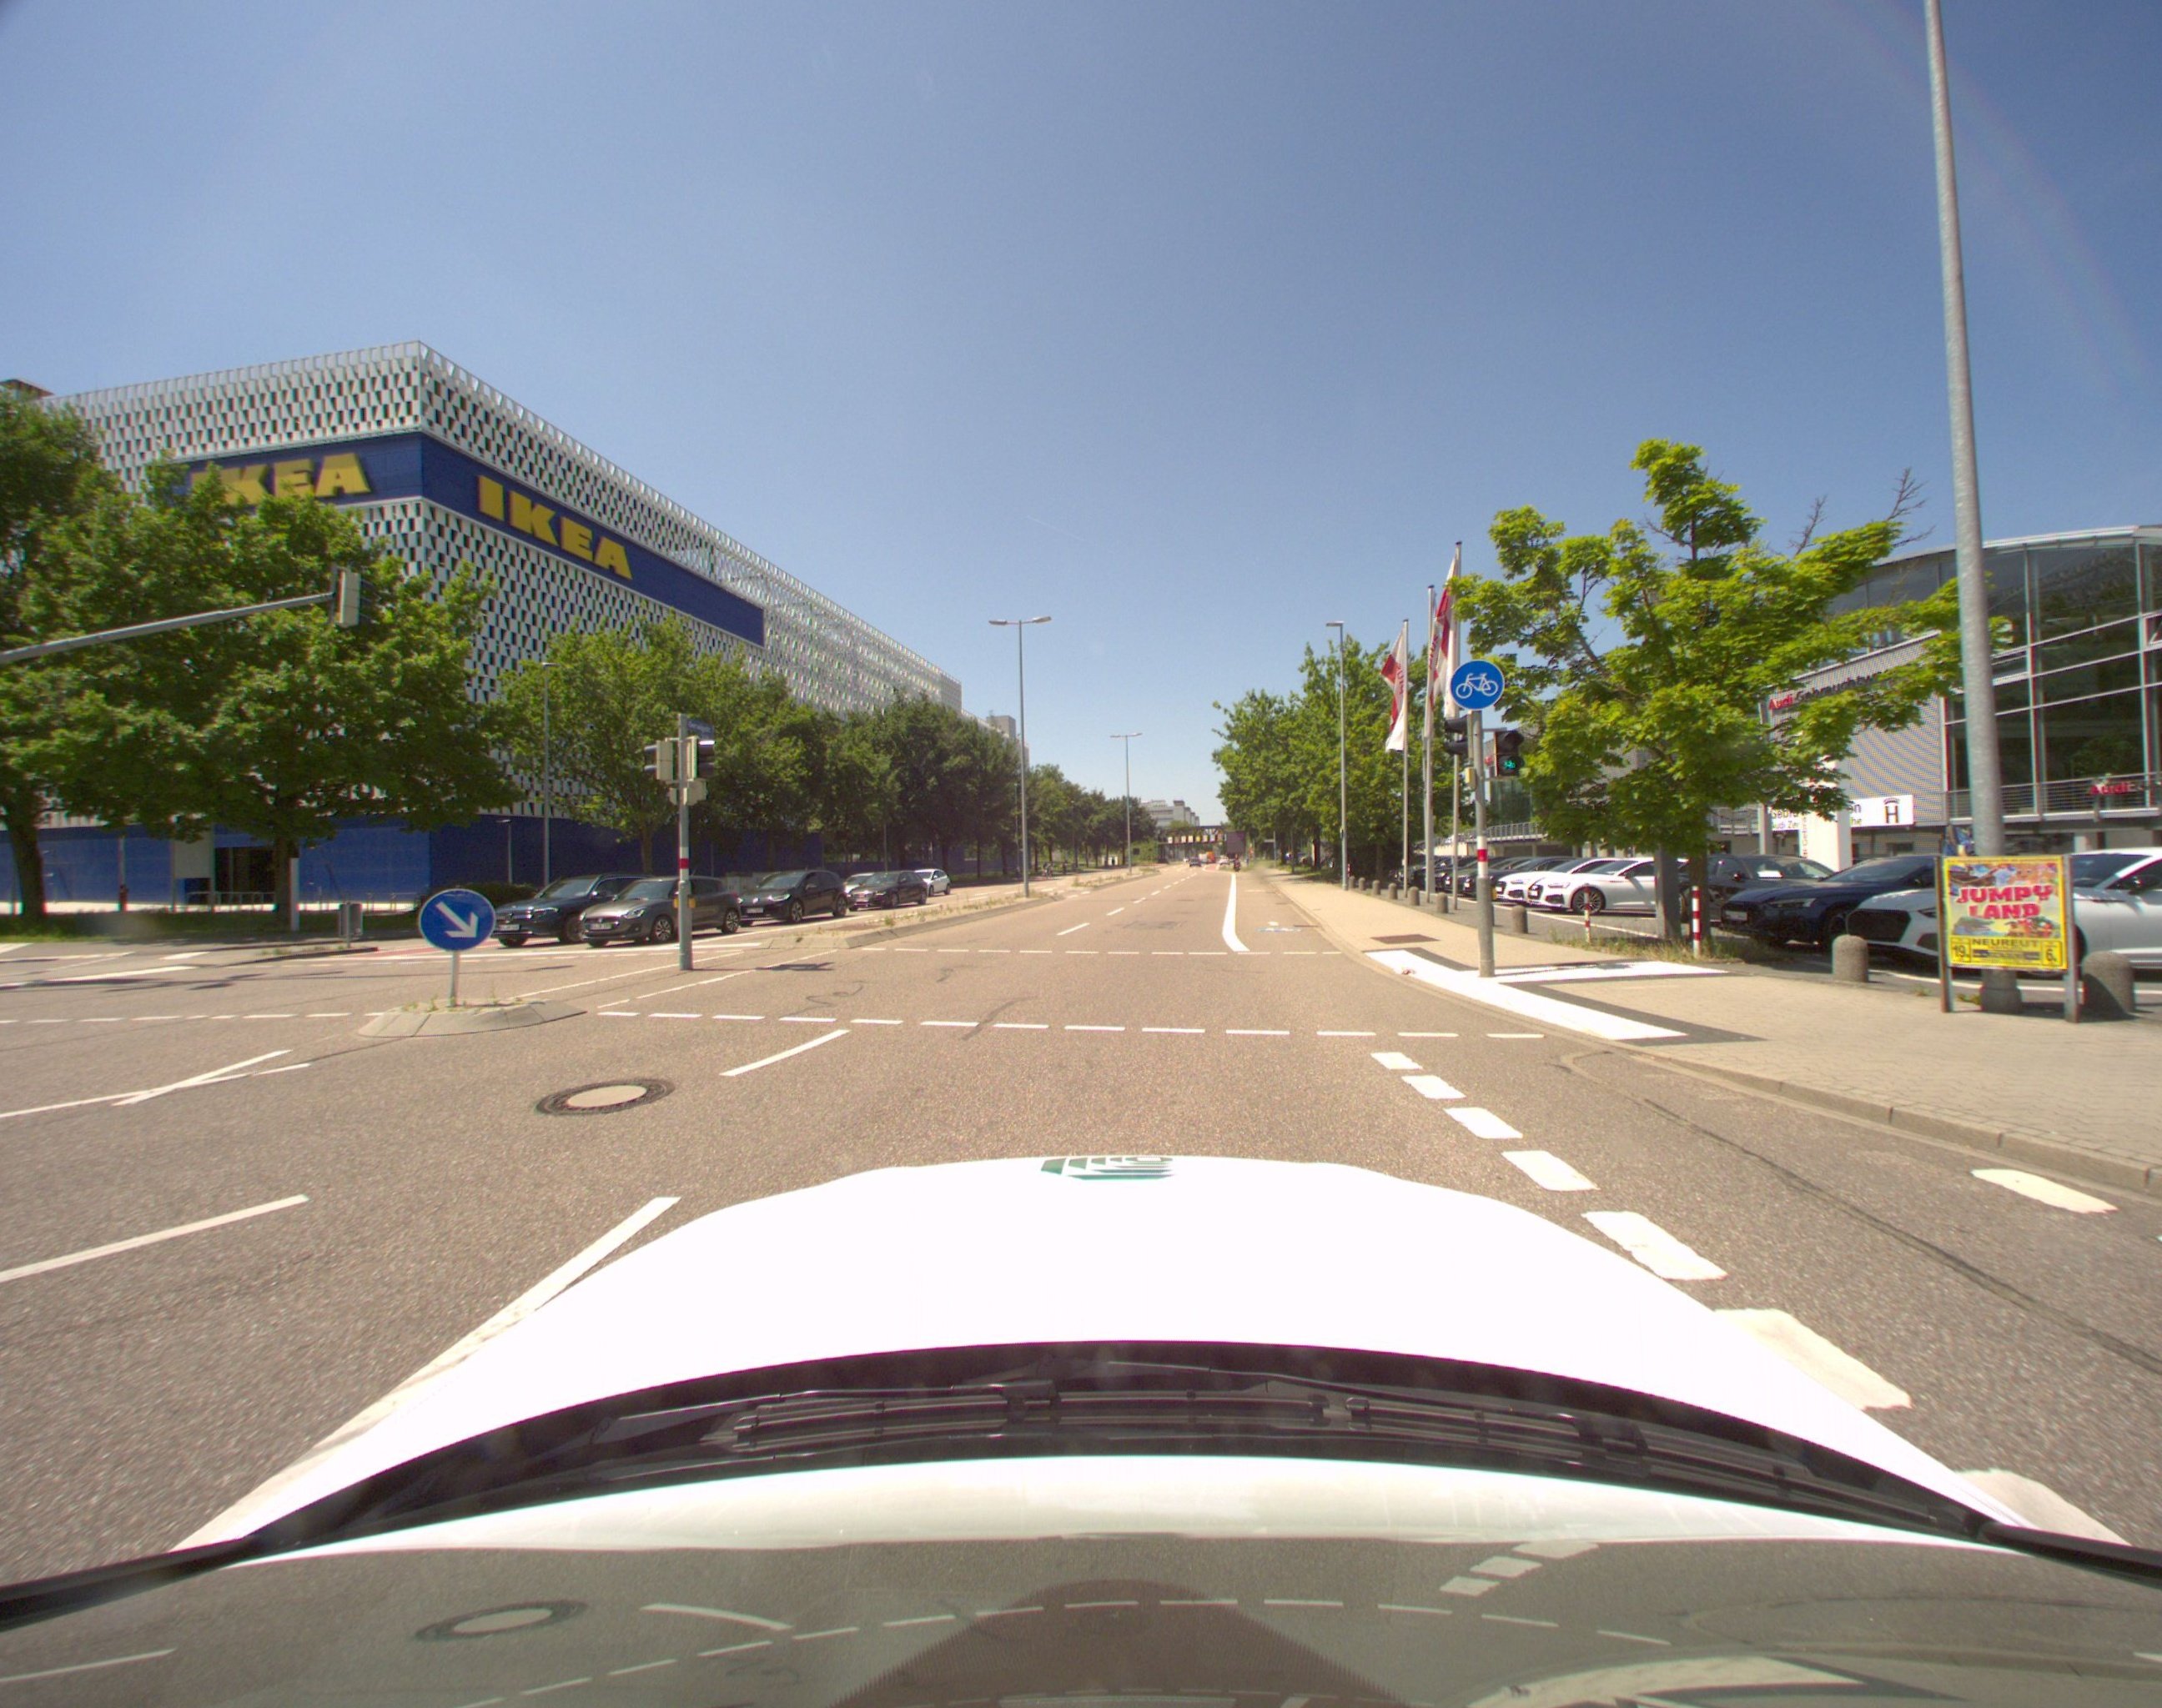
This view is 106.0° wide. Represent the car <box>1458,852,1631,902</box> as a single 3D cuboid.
[{"bbox_3d":[13.908,0.664,24.676,4.199,1.390,1.874,1,0,10],"label":"car"}]

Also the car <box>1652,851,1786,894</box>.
[{"bbox_3d":[26.211,0.727,33.608,3.960,1.654,1.856,1,0,10],"label":"car"}]

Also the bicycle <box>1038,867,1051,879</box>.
[{"bbox_3d":[-3.791,1.999,85.381,0.734,1.125,2.442,-2,0,12],"label":"bicycle"}]

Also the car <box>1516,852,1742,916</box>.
[{"bbox_3d":[12.879,0.664,19.405,4.070,1.364,1.880,1,0,10],"label":"car"}]

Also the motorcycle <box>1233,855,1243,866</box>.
[{"bbox_3d":[15.894,0.697,82.449,0.714,1.105,1.830,0,0,1],"label":"motorcycle"}]

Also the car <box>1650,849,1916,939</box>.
[{"bbox_3d":[13.006,0.651,15.546,1.850,1.420,4.678,1,0,12],"label":"car"}]

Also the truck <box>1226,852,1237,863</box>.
[{"bbox_3d":[34.552,0.767,187.551,2.443,2.410,7.154,0,0,10],"label":"truck"}]

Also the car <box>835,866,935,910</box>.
[{"bbox_3d":[-7.399,1.258,31.251,1.714,1.446,4.736,-4,-1,13],"label":"car"}]

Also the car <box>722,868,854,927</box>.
[{"bbox_3d":[-8.643,1.239,24.466,1.715,1.505,4.256,-3,-1,11],"label":"car"}]

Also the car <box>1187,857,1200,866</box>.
[{"bbox_3d":[18.323,1.278,132.453,1.889,1.376,4.243,-2,0,10],"label":"car"}]

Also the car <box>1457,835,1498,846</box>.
[{"bbox_3d":[43.738,-1.515,89.925,3.706,1.130,1.687,0,0,6],"label":"car"}]

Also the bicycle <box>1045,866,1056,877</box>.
[{"bbox_3d":[-3.328,1.926,89.212,0.633,1.134,1.978,-2,-1,14],"label":"bicycle"}]

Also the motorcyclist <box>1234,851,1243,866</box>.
[{"bbox_3d":[15.918,0.472,82.435,0.717,1.529,0.871,0,-1,1],"label":"motorcyclist"}]

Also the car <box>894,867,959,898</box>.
[{"bbox_3d":[-8.242,1.492,43.875,1.714,1.446,4.467,-4,-1,13],"label":"car"}]

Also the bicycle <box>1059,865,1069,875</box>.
[{"bbox_3d":[-1.934,1.846,93.951,0.625,1.159,2.123,-4,-1,10],"label":"bicycle"}]

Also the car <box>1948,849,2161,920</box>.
[{"bbox_3d":[24.287,0.711,19.964,3.960,1.622,1.661,1,0,10],"label":"car"}]

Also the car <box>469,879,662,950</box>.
[{"bbox_3d":[-12.427,1.407,19.987,1.650,1.424,4.050,-2,-1,10],"label":"car"}]

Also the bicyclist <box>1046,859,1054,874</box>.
[{"bbox_3d":[-3.375,1.329,89.115,0.632,1.582,0.888,-2,-1,13],"label":"bicyclist"}]

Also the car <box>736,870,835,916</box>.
[{"bbox_3d":[-11.043,1.408,30.722,1.716,1.544,3.926,-2,-1,10],"label":"car"}]

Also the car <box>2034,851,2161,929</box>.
[{"bbox_3d":[23.669,0.769,17.450,3.960,1.598,1.856,1,0,10],"label":"car"}]

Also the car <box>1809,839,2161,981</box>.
[{"bbox_3d":[11.308,0.576,8.999,4.562,1.390,1.875,1,0,11],"label":"car"}]

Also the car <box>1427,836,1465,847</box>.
[{"bbox_3d":[46.097,-1.580,102.824,3.967,1.312,1.800,-2,0,6],"label":"car"}]

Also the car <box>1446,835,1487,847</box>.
[{"bbox_3d":[43.916,-1.477,92.835,3.919,1.211,1.720,-1,0,6],"label":"car"}]

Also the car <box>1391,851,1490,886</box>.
[{"bbox_3d":[15.729,0.624,35.777,3.658,1.453,1.839,1,0,10],"label":"car"}]

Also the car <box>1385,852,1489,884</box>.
[{"bbox_3d":[16.683,0.649,38.351,4.205,1.401,1.821,1,0,10],"label":"car"}]

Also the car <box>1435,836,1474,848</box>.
[{"bbox_3d":[45.614,-1.465,99.594,3.967,1.312,1.800,0,0,6],"label":"car"}]

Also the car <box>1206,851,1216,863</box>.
[{"bbox_3d":[30.695,0.690,192.456,2.060,2.854,6.783,-2,0,10],"label":"car"}]

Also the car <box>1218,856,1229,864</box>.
[{"bbox_3d":[26.349,1.160,150.842,1.912,1.420,4.011,-1,0,10],"label":"car"}]

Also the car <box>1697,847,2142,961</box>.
[{"bbox_3d":[11.517,0.628,11.524,4.070,1.390,1.874,1,0,10],"label":"car"}]

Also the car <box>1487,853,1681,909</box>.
[{"bbox_3d":[13.466,0.692,22.041,4.074,1.348,1.874,1,0,10],"label":"car"}]

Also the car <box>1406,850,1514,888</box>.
[{"bbox_3d":[15.381,0.591,33.202,3.658,1.453,1.839,1,0,10],"label":"car"}]

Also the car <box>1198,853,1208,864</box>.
[{"bbox_3d":[23.880,0.825,159.347,1.981,2.014,4.011,-1,0,10],"label":"car"}]

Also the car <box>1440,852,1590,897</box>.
[{"bbox_3d":[14.462,0.656,27.336,4.075,1.405,1.874,1,0,10],"label":"car"}]

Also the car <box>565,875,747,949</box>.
[{"bbox_3d":[-9.519,1.237,18.595,1.633,1.389,3.727,-3,-1,11],"label":"car"}]

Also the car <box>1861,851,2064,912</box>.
[{"bbox_3d":[24.709,0.736,22.951,3.624,1.580,1.647,1,0,10],"label":"car"}]

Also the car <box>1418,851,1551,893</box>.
[{"bbox_3d":[14.942,0.640,30.358,4.075,1.453,1.874,1,0,10],"label":"car"}]

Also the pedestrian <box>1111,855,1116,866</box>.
[{"bbox_3d":[5.975,1.171,149.874,0.739,1.884,0.579,-2,-1,11],"label":"pedestrian"}]

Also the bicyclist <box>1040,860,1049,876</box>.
[{"bbox_3d":[-3.821,1.481,85.288,0.740,1.685,0.955,-2,-1,12],"label":"bicyclist"}]

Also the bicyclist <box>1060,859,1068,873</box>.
[{"bbox_3d":[-1.972,1.399,93.896,0.630,1.629,1.047,-3,-1,10],"label":"bicyclist"}]

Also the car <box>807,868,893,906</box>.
[{"bbox_3d":[-10.158,1.406,36.203,1.735,1.422,4.636,-3,0,10],"label":"car"}]
